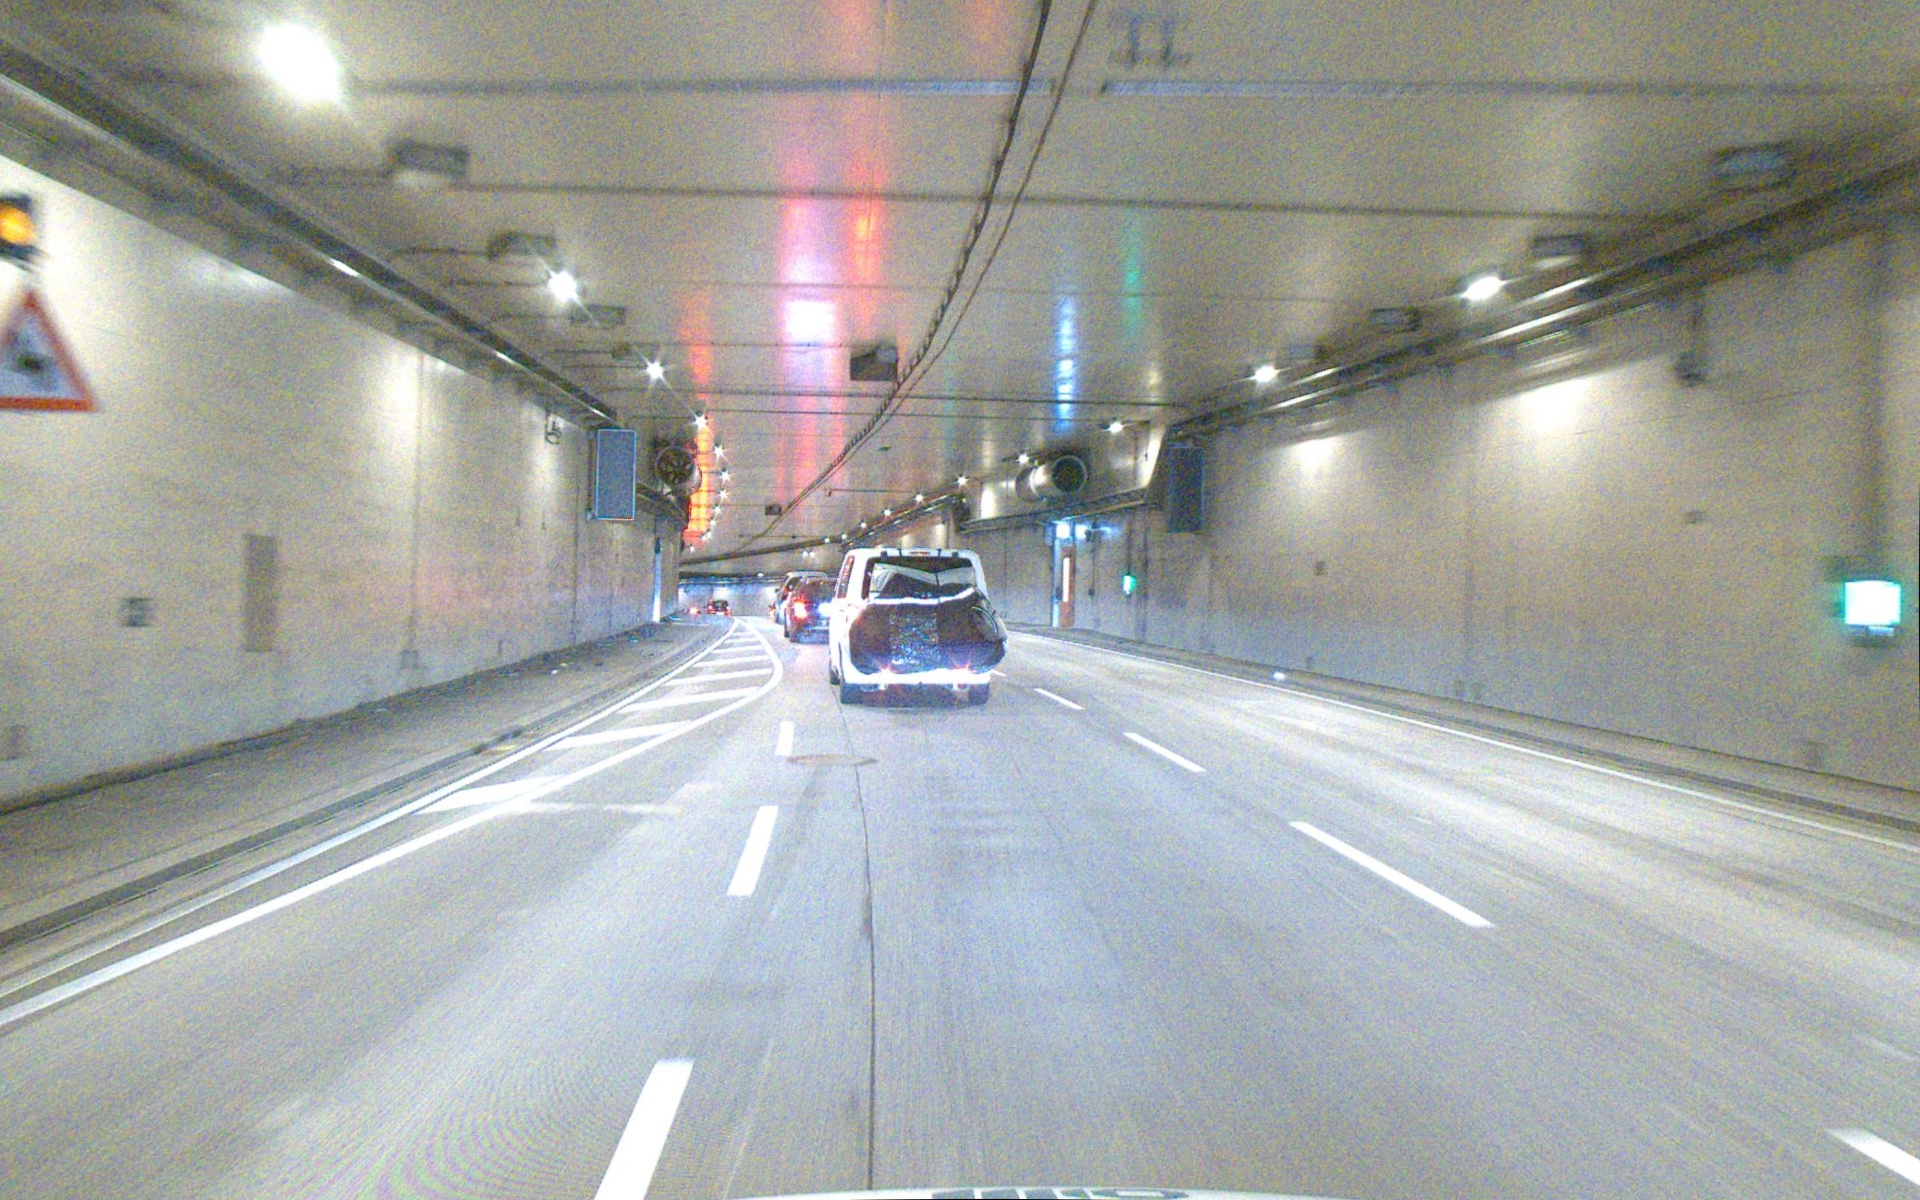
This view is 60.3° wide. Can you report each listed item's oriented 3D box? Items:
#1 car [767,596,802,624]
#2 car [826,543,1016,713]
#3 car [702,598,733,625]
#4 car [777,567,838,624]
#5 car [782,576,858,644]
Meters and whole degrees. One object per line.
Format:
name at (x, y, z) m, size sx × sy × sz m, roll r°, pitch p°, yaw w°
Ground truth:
car at (-11.086, 0.663, 104.413) m, size 1.790 × 1.659 × 3.832 m, roll 3°, pitch -2°, yaw -11°
car at (-0.641, 0.269, 21.107) m, size 1.955 × 1.879 × 5.294 m, roll 0°, pitch 1°, yaw -7°
car at (-16.216, 0.777, 110.448) m, size 1.790 × 1.659 × 3.831 m, roll 3°, pitch -2°, yaw -12°
car at (-4.657, -0.105, 50.118) m, size 1.573 × 1.622 × 3.348 m, roll 1°, pitch -1°, yaw -10°
car at (-3.156, 0.193, 36.831) m, size 1.572 × 1.420 × 3.272 m, roll 1°, pitch 0°, yaw -7°
